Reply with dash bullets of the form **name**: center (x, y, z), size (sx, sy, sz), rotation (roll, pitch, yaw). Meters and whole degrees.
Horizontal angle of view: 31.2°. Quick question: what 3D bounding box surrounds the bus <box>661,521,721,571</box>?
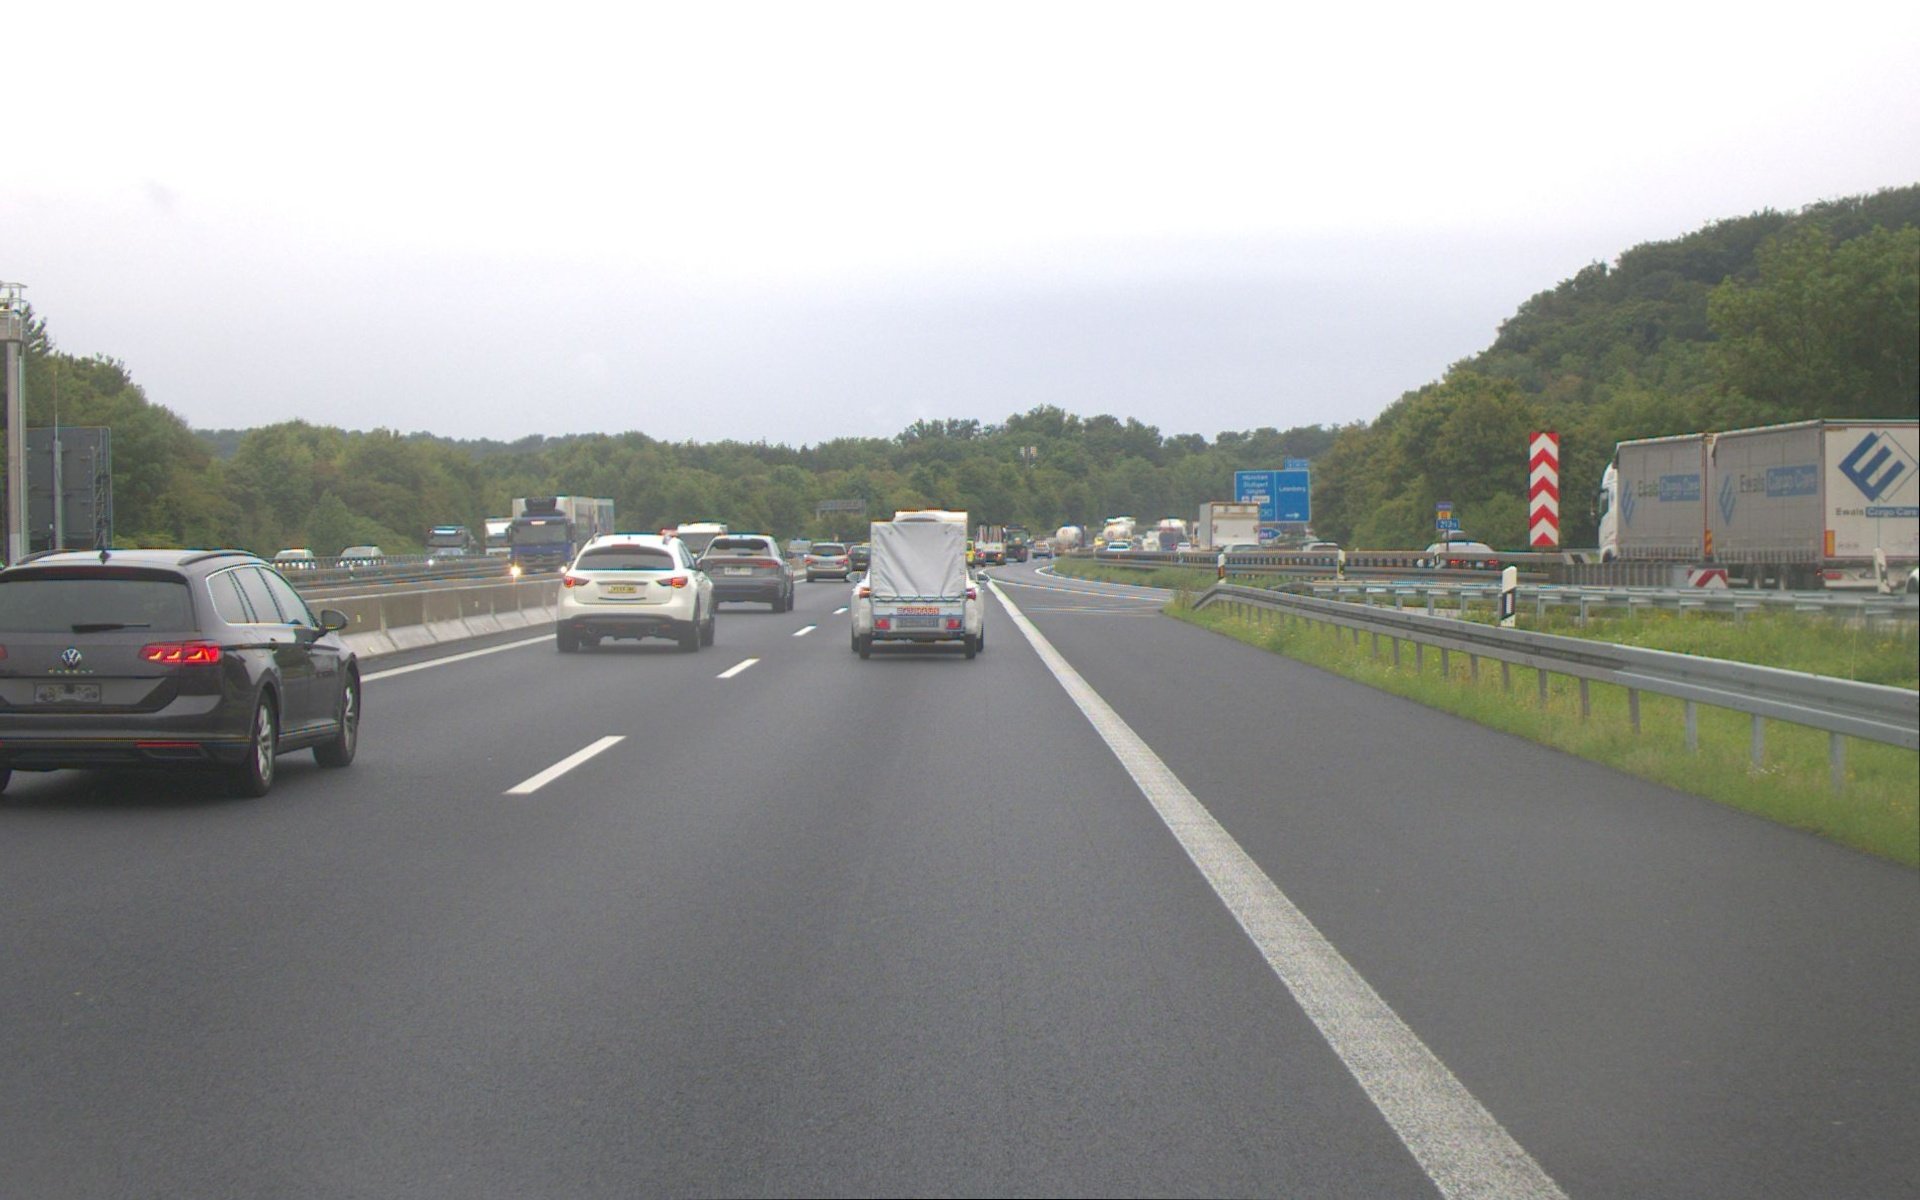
- **bus**: center (-14.331, -2.892, 183.340), size (2.541, 2.577, 8.271), rotation (1, 1, 0)

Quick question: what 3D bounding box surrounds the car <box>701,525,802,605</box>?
- **car**: center (-4.601, -0.801, 76.506), size (1.975, 1.697, 4.802), rotation (1, 1, 0)

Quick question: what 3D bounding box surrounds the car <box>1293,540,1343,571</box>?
- **car**: center (15.250, -1.896, 146.568), size (1.697, 1.284, 3.535), rotation (1, 1, -1)

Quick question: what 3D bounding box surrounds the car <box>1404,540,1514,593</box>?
- **car**: center (14.318, -0.983, 98.947), size (1.986, 1.372, 5.320), rotation (0, 2, -5)

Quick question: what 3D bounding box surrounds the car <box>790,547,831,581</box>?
- **car**: center (-7.486, -1.798, 172.646), size (1.819, 1.656, 4.017), rotation (0, 1, 0)

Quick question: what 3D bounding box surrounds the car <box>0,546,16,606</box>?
- **car**: center (-29.022, -0.677, 99.833), size (1.993, 1.731, 4.583), rotation (-1, 1, -1)

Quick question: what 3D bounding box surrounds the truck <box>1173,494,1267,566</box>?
- **truck**: center (13.755, -3.691, 182.630), size (3.824, 3.646, 8.273), rotation (1, 1, -4)

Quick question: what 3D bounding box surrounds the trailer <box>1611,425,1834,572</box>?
- **trailer**: center (19.249, -2.519, 87.421), size (2.937, 3.515, 8.421), rotation (1, 1, -6)

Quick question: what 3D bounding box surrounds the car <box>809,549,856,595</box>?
- **car**: center (-5.146, -1.135, 139.267), size (1.738, 1.787, 4.000), rotation (1, 1, 0)

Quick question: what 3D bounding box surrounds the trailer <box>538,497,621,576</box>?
- **trailer**: center (-17.352, -2.884, 157.221), size (2.942, 3.504, 8.052), rotation (1, 1, -1)

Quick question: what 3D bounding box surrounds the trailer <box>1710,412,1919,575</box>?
- **trailer**: center (20.155, -2.383, 79.230), size (3.077, 3.515, 8.087), rotation (1, 1, -7)

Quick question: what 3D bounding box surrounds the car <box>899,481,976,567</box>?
- **car**: center (-0.755, -2.470, 110.729), size (2.331, 2.716, 6.541), rotation (0, 2, -2)

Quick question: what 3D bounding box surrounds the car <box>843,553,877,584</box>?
- **car**: center (-5.217, -1.677, 180.018), size (1.645, 1.568, 4.000), rotation (1, 1, 0)

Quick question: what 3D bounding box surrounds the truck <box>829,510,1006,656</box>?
- **truck**: center (-0.586, -0.279, 47.291), size (2.242, 1.833, 6.585), rotation (1, 1, -1)

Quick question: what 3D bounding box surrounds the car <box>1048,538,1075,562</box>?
- **car**: center (6.840, -3.364, 231.814), size (1.645, 1.568, 4.000), rotation (1, 1, 0)

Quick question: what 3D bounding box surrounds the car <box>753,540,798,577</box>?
- **car**: center (-8.486, -1.919, 158.701), size (1.819, 1.656, 4.017), rotation (0, 1, 0)

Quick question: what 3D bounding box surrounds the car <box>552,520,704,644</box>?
- **car**: center (-4.708, -0.287, 48.896), size (2.048, 1.665, 4.542), rotation (0, 1, -5)

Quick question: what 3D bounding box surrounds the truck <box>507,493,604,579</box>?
- **truck**: center (-17.332, -2.720, 147.785), size (2.808, 3.512, 10.641), rotation (1, 1, 0)

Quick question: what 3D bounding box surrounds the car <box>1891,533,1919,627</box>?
- **car**: center (17.605, -0.331, 57.938), size (1.993, 1.611, 5.080), rotation (0, 1, -6)

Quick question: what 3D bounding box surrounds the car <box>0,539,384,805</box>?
- **car**: center (-4.897, 0.357, 21.463), size (1.787, 1.454, 4.802), rotation (1, 1, 0)

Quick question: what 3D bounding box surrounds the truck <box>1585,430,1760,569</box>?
- **truck**: center (18.900, -2.628, 91.501), size (2.937, 3.515, 5.928), rotation (1, 1, -5)
